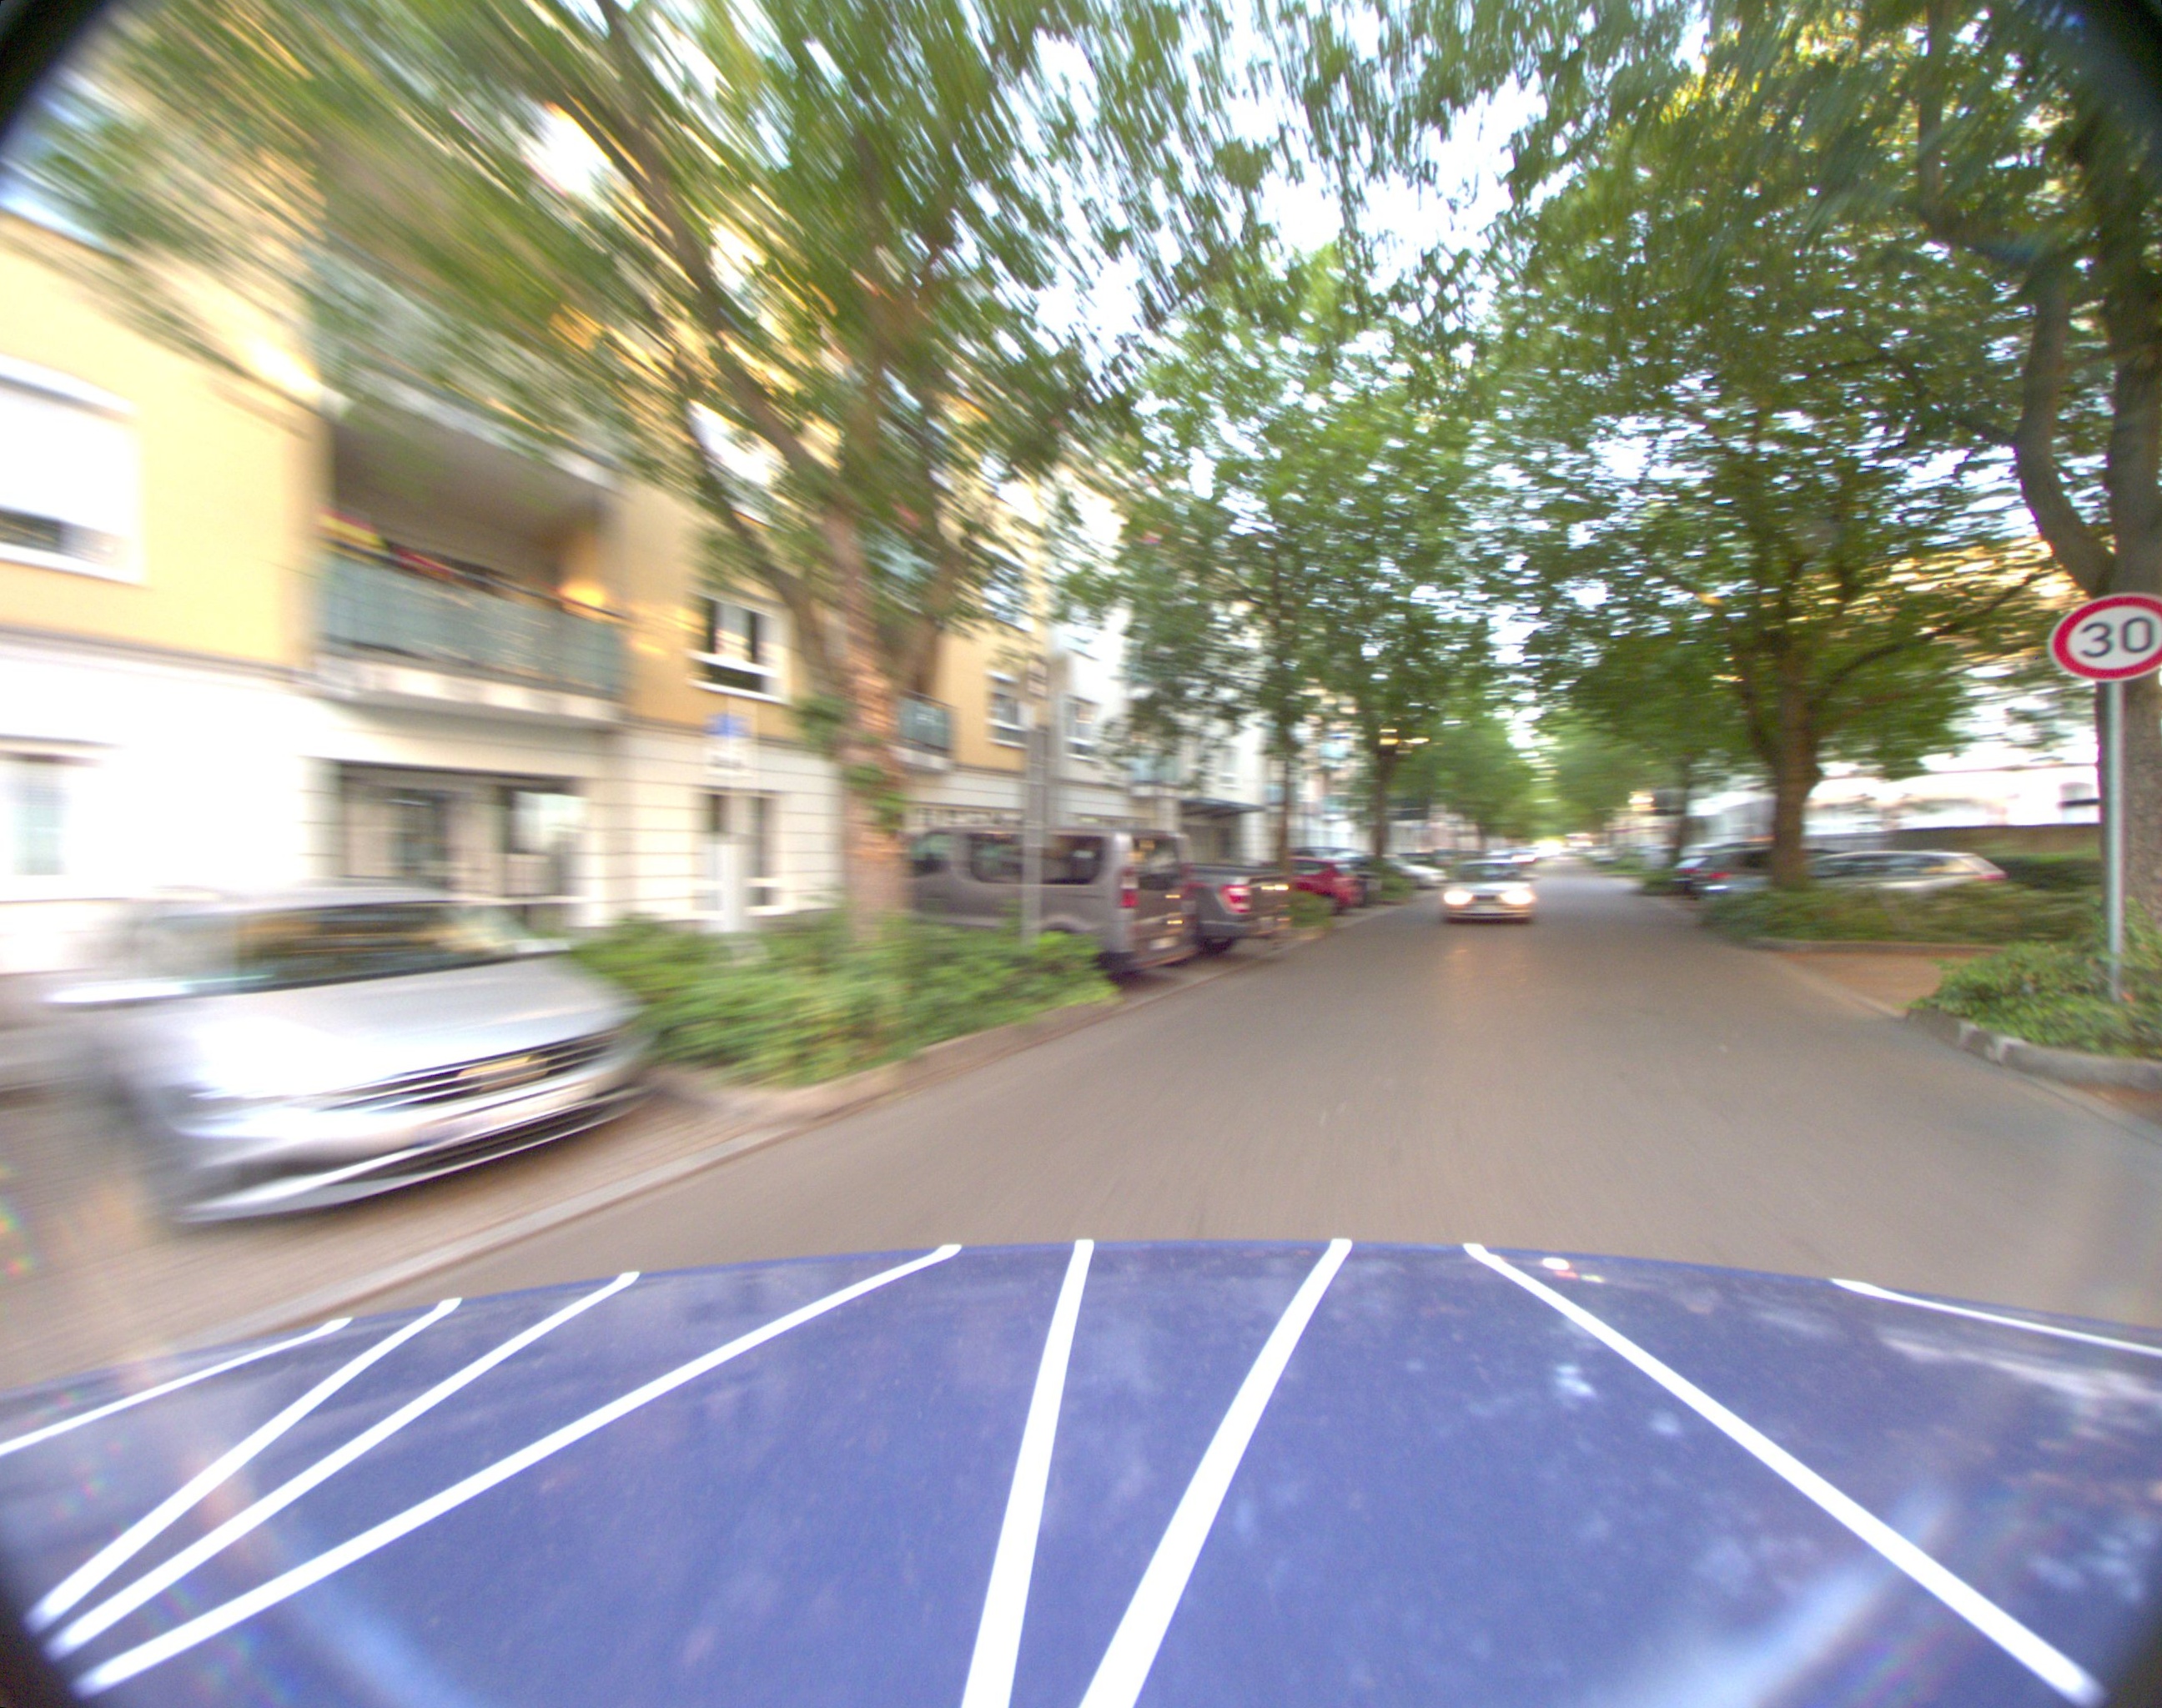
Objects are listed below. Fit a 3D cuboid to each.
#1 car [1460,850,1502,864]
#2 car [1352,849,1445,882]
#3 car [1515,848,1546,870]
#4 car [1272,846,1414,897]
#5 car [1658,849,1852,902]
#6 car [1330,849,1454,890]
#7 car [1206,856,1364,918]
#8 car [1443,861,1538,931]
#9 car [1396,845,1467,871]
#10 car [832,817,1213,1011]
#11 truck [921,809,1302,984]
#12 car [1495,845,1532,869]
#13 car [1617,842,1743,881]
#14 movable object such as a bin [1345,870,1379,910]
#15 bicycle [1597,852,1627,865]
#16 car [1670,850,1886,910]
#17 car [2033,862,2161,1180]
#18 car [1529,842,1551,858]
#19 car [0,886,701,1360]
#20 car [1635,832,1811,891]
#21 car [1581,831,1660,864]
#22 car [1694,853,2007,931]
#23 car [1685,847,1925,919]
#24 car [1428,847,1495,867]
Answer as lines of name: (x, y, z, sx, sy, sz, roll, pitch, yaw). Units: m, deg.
car: (45.153, 0.348, 85.814, 4.084, 1.482, 1.801, -1, 0, 28)
car: (15.718, 0.523, 37.582, 4.085, 1.443, 1.938, 2, 2, 26)
car: (40.197, 0.407, 67.858, 1.995, 1.838, 4.008, -2, -1, 35)
car: (9.672, 0.587, 28.129, 4.644, 1.608, 2.014, 3, 2, 27)
car: (19.848, 0.622, 22.634, 3.989, 1.455, 1.926, -1, 0, 30)
car: (13.108, 0.608, 32.112, 4.601, 1.460, 1.799, 2, 2, 31)
car: (5.562, 0.879, 20.756, 3.779, 1.535, 1.881, -1, 0, 30)
car: (9.551, 0.886, 17.711, 1.733, 1.363, 4.341, -1, 0, 29)
car: (22.906, 0.221, 49.684, 3.970, 1.576, 1.920, 2, 2, 31)
car: (-0.831, 0.651, 10.140, 4.603, 2.054, 2.202, -1, 0, 30)
truck: (0.344, 0.602, 12.486, 5.891, 2.297, 2.217, -1, 0, 32)
car: (31.208, 0.209, 54.751, 1.889, 1.635, 4.008, -2, -1, 35)
car: (28.509, 0.362, 36.377, 4.508, 1.761, 2.004, -1, 0, 30)
movable object such as a bin: (8.201, 1.036, 22.146, 0.761, 1.078, 0.787, 1, 1, 32)
bicycle: (34.338, 0.286, 49.153, 1.553, 0.826, 0.614, -1, 0, 35)
car: (18.681, 0.688, 20.627, 3.989, 1.482, 1.829, -1, 0, 29)
car: (7.387, 0.787, 2.668, 4.621, 1.543, 2.079, -2, 0, 34)
car: (57.233, -0.474, 94.656, 1.995, 1.838, 4.008, -2, -1, 35)
car: (-4.693, 1.031, 4.666, 4.624, 1.494, 1.965, 0, 1, 30)
car: (22.674, 0.296, 27.108, 4.508, 1.944, 2.004, -1, 0, 30)
car: (43.101, -0.487, 60.859, 5.006, 2.558, 2.125, -1, 0, 31)
car: (15.810, 0.741, 15.995, 4.290, 1.421, 1.883, -1, 0, 31)
car: (17.208, 0.655, 18.396, 3.989, 1.556, 1.933, -1, 0, 37)
car: (30.313, 0.248, 60.619, 4.459, 1.419, 2.015, 2, 2, 36)
